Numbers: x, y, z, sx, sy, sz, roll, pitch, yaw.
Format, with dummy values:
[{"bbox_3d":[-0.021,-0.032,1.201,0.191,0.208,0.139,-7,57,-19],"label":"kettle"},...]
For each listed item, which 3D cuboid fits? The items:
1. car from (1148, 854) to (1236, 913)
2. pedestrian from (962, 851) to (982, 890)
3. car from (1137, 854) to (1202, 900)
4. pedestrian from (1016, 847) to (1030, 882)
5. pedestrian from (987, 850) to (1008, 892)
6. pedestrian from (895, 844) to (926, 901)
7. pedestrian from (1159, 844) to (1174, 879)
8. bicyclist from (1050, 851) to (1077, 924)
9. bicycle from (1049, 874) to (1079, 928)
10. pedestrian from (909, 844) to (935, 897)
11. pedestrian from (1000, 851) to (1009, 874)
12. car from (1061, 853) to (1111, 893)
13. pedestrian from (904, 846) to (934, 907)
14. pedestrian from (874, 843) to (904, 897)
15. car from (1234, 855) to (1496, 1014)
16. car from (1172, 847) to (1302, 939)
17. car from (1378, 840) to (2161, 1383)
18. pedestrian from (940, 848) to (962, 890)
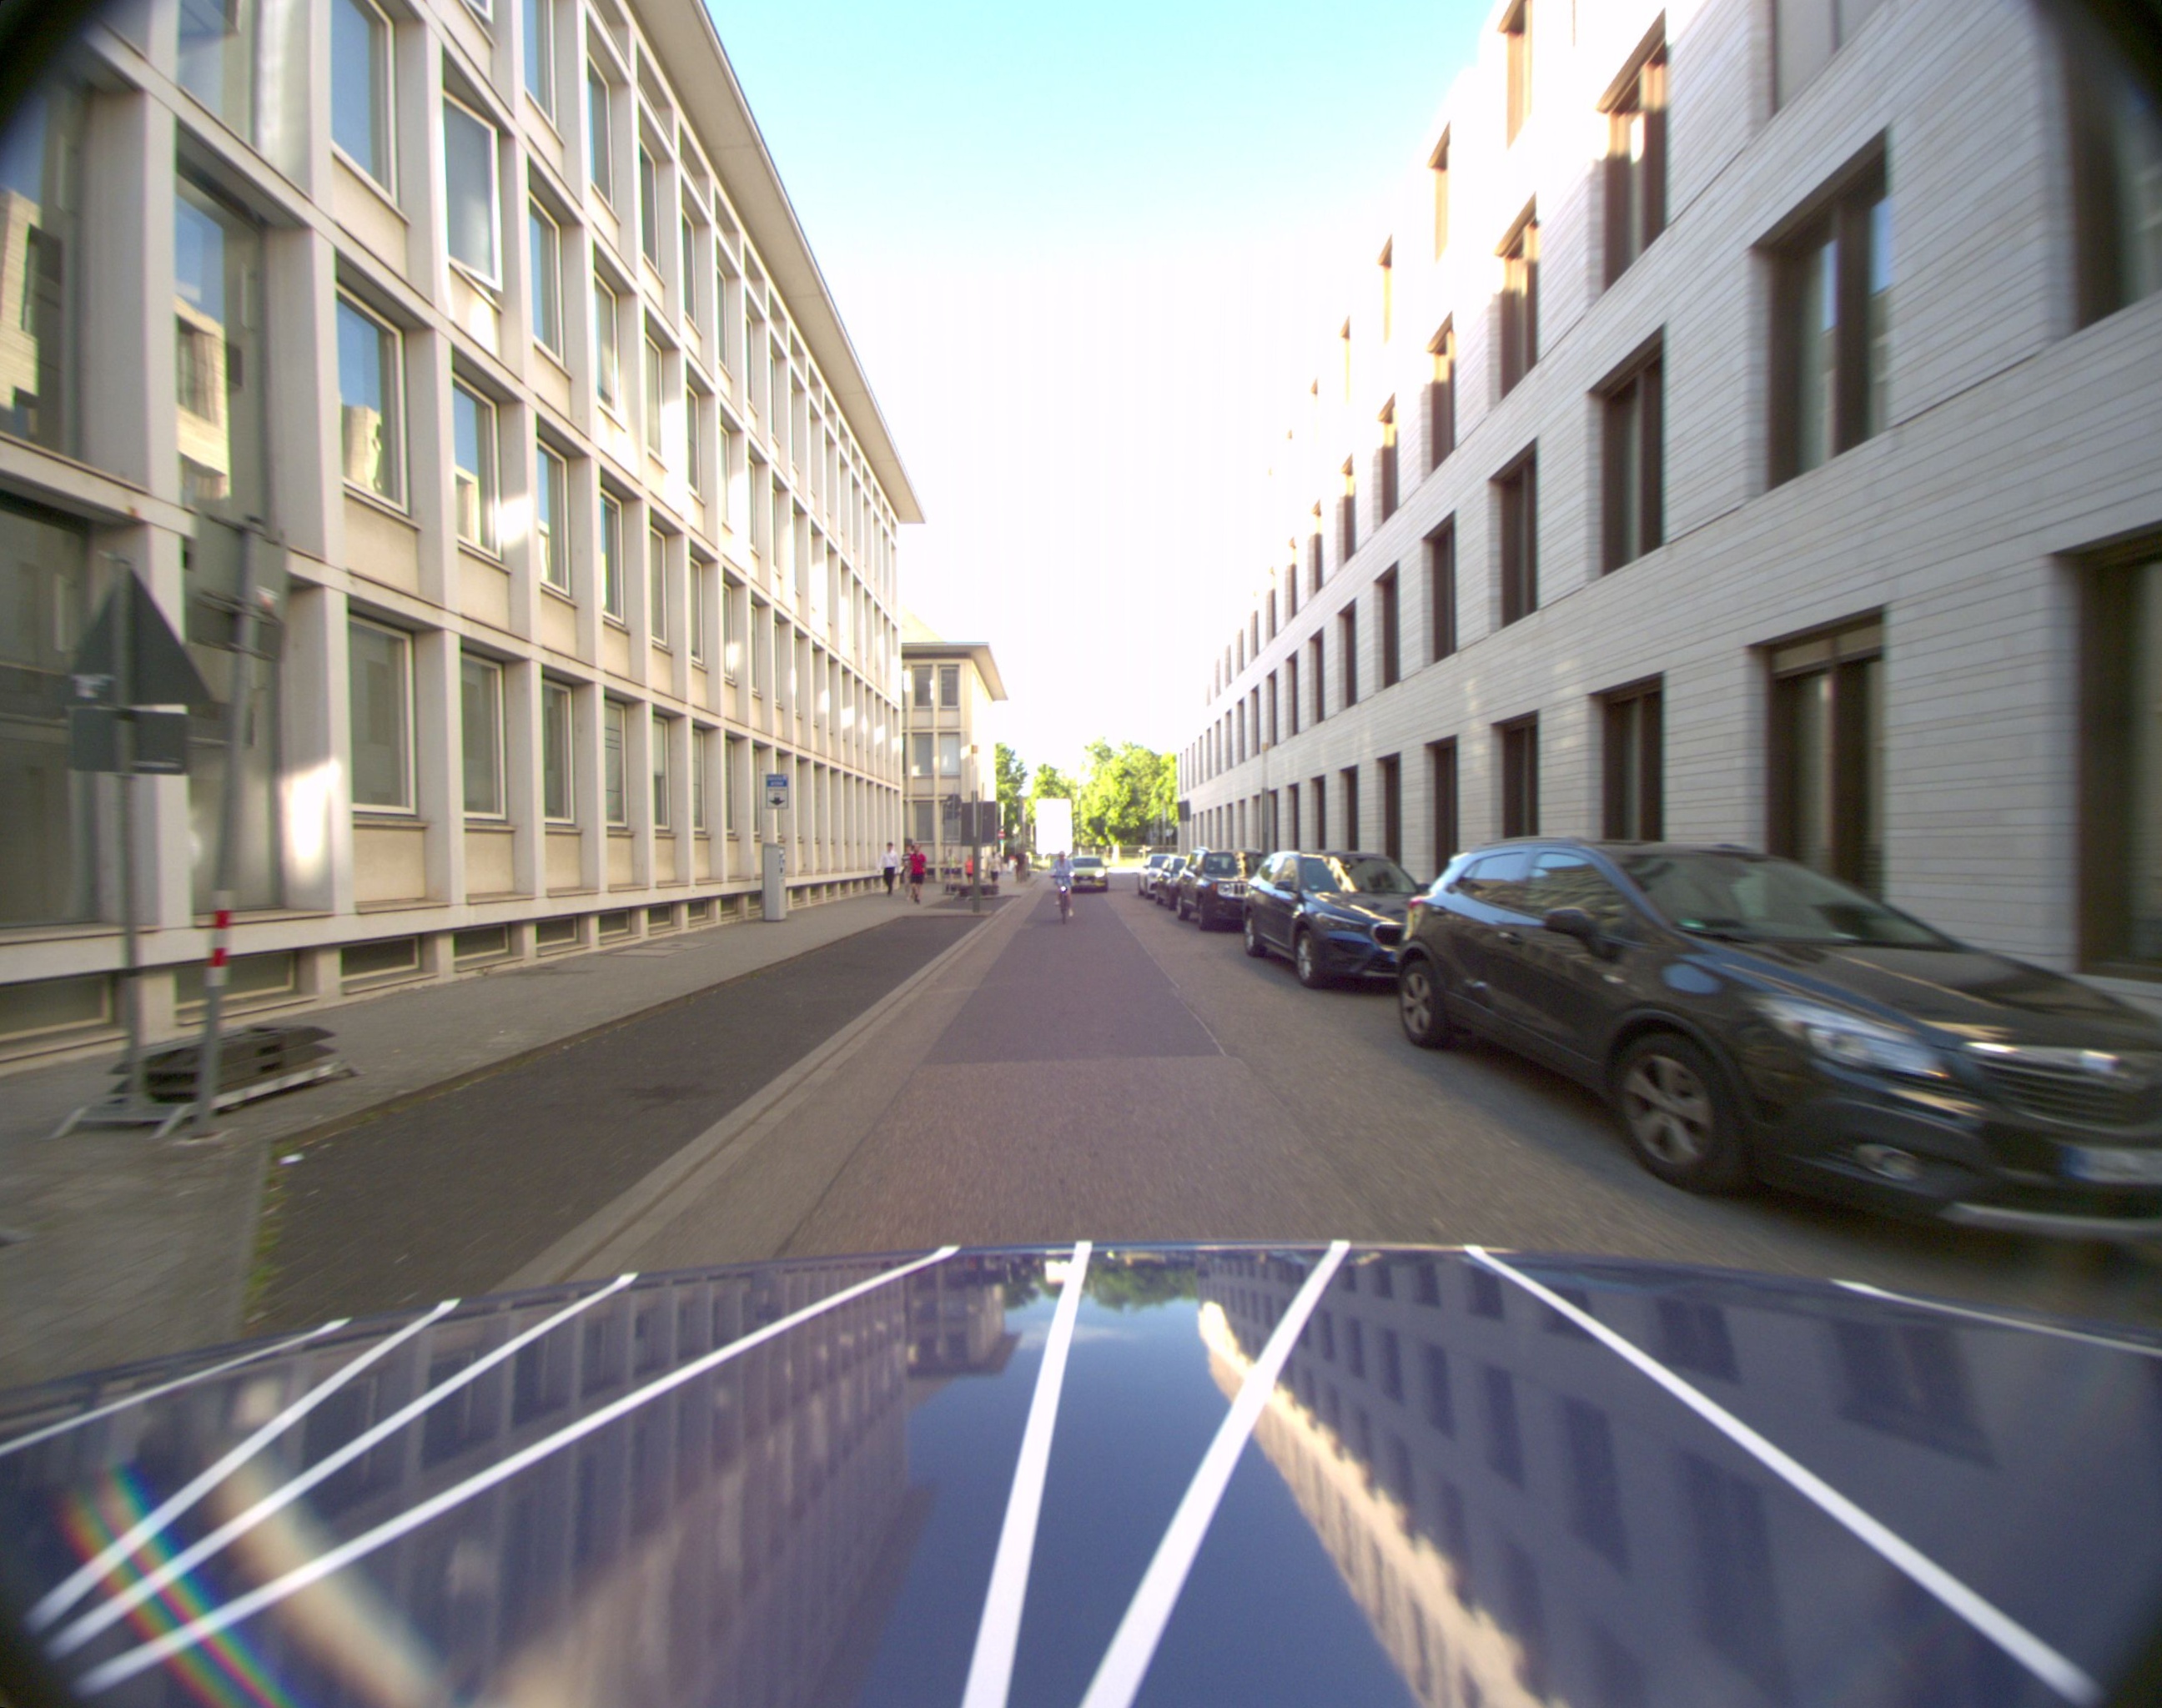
[{"bbox_3d":[3.195,0.800,22.679,1.827,1.532,4.262,-1,0,-3],"label":"car"},{"bbox_3d":[-4.623,0.706,32.324,0.685,1.627,0.693,2,1,1],"label":"pedestrian"},{"bbox_3d":[3.158,0.790,27.941,1.827,1.532,4.446,0,0,-1],"label":"car"},{"bbox_3d":[-3.050,0.543,40.164,0.643,1.780,0.575,2,2,0],"label":"pedestrian"},{"bbox_3d":[-3.471,0.703,31.578,0.685,1.706,0.693,3,1,1],"label":"pedestrian"},{"bbox_3d":[-5.465,0.585,24.331,0.685,1.768,0.693,5,1,1],"label":"pedestrian"},{"bbox_3d":[4.447,0.392,39.419,0.645,1.780,0.816,-2,2,0],"label":"pedestrian"},{"bbox_3d":[-0.429,0.785,18.045,0.586,1.679,0.538,-2,2,-3],"label":"bicyclist"},{"bbox_3d":[-0.417,1.065,17.900,0.595,1.077,2.309,-2,1,-3],"label":"bicycle"},{"bbox_3d":[-5.418,0.560,25.857,0.685,1.768,0.693,1,1,1],"label":"pedestrian"},{"bbox_3d":[-5.545,0.640,54.879,0.626,1.633,0.623,-2,2,-6],"label":"pedestrian"},{"bbox_3d":[0.157,0.779,33.261,1.999,1.451,4.434,-2,1,-2],"label":"car"},{"bbox_3d":[-4.843,0.657,22.793,0.685,1.768,0.593,3,1,1],"label":"pedestrian"},{"bbox_3d":[-6.480,0.530,25.657,0.685,1.768,0.693,5,1,1],"label":"pedestrian"},{"bbox_3d":[3.330,0.831,9.849,1.744,1.585,4.153,1,0,-1],"label":"car"},{"bbox_3d":[3.213,0.738,16.474,1.827,1.704,4.016,1,0,-2],"label":"car"},{"bbox_3d":[3.544,0.804,4.477,1.827,1.668,4.263,1,0,-1],"label":"car"},{"bbox_3d":[-5.515,0.620,32.251,0.685,1.706,0.693,3,1,1],"label":"pedestrian"}]
